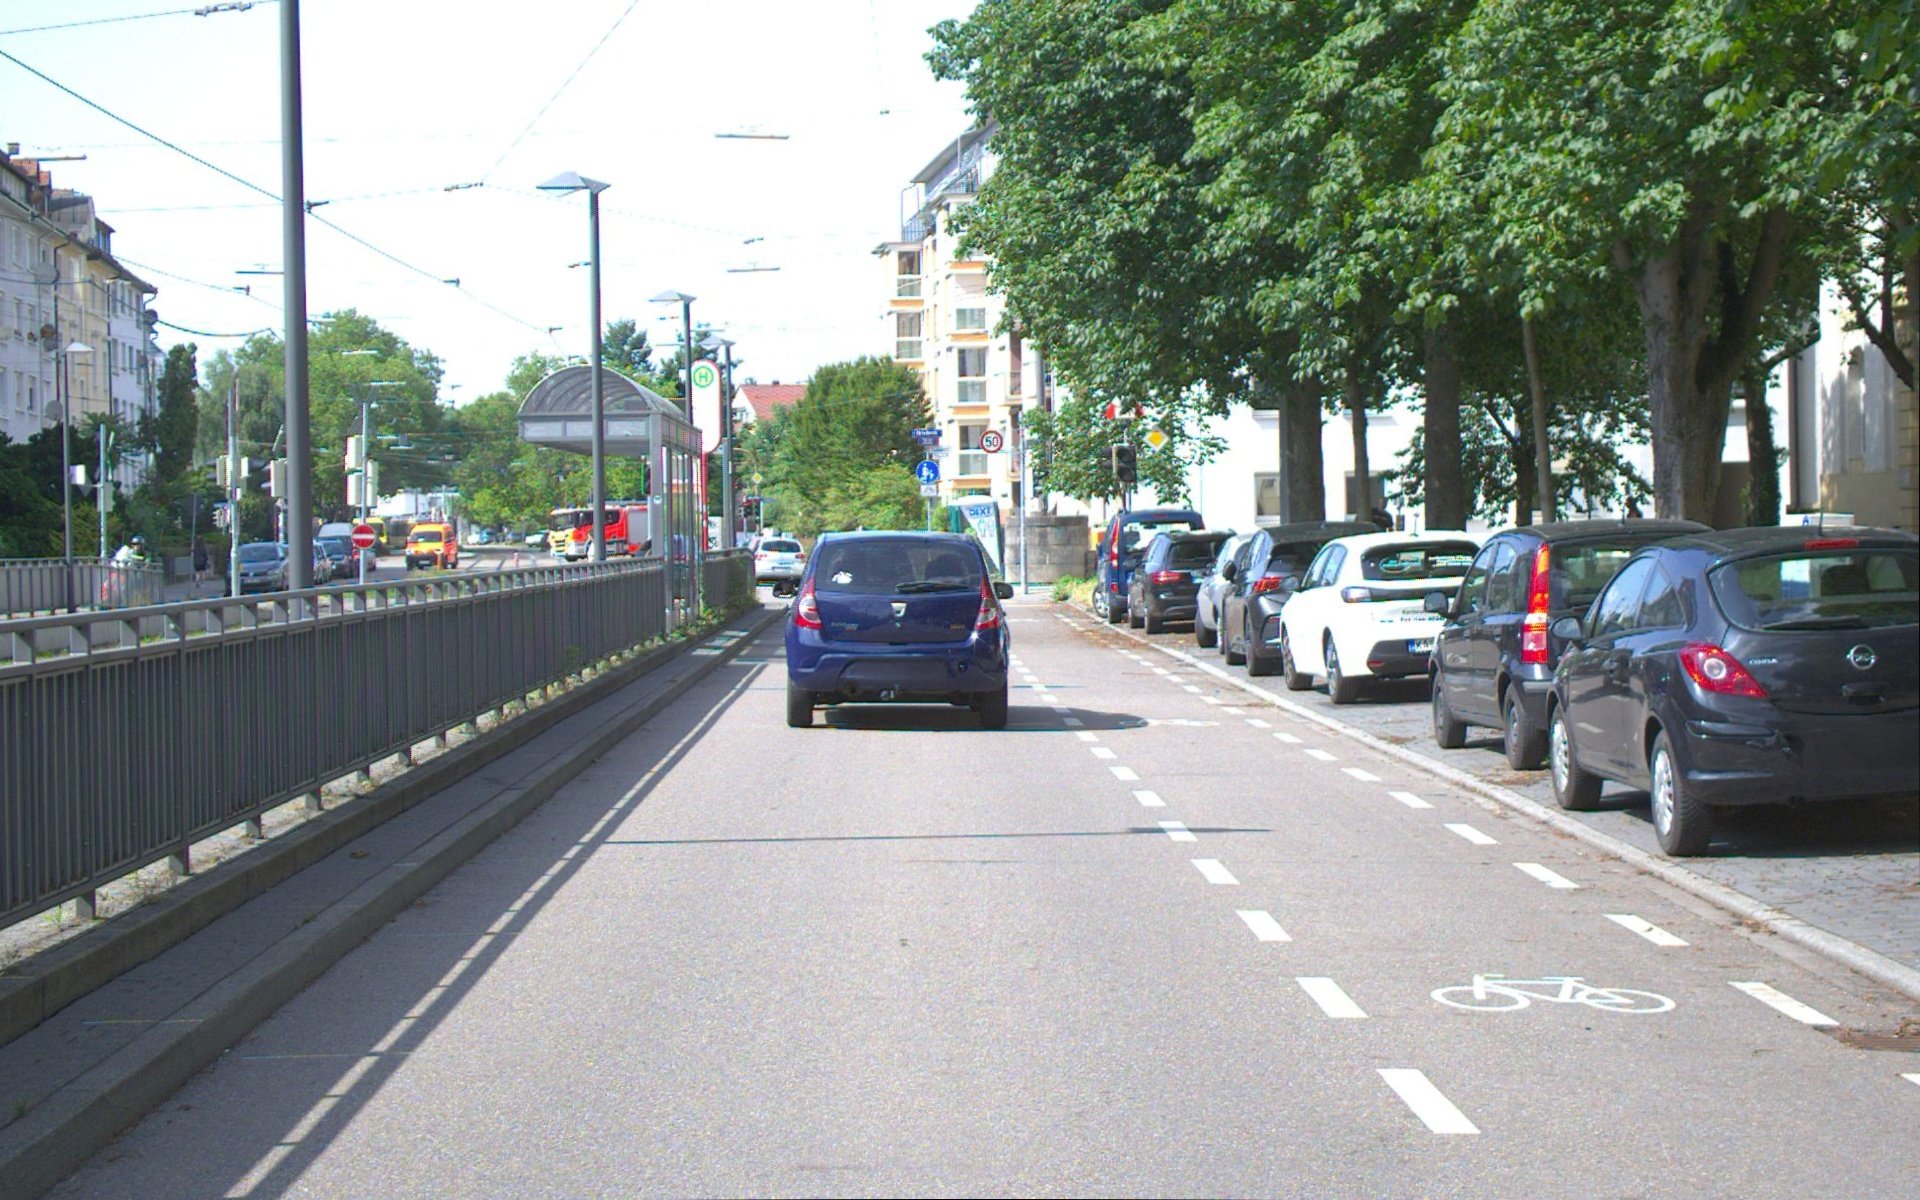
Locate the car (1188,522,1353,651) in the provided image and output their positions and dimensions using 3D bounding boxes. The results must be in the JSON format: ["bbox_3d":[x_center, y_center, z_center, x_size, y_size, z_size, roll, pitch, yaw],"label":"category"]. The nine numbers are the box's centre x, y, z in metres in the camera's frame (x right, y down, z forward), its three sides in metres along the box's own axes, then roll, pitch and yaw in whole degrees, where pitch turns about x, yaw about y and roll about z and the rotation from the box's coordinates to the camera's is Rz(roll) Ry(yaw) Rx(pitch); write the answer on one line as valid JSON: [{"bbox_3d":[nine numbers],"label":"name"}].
[{"bbox_3d":[3.771,-0.188,42.238,1.590,1.440,3.598,-3,1,-1],"label":"car"}]

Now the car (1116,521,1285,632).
[{"bbox_3d":[3.527,-0.390,51.237,1.917,1.437,4.797,-3,2,-2],"label":"car"}]

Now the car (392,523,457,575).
[{"bbox_3d":[-25.552,-2.455,163.975,1.993,2.267,4.835,3,1,-21],"label":"car"}]

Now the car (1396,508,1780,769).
[{"bbox_3d":[4.011,0.218,22.491,1.555,1.456,3.559,-4,1,-4],"label":"car"}]

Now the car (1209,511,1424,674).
[{"bbox_3d":[3.751,-0.131,36.825,1.725,1.578,4.677,-2,1,0],"label":"car"}]

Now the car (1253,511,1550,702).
[{"bbox_3d":[3.920,0.012,31.228,1.835,1.518,4.254,-3,1,-4],"label":"car"}]

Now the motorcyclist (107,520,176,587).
[{"bbox_3d":[-16.834,-0.953,70.706,0.940,1.334,0.985,-1,1,29],"label":"motorcyclist"}]

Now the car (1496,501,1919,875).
[{"bbox_3d":[3.967,0.333,17.294,1.690,1.556,4.308,-4,1,-1],"label":"car"}]

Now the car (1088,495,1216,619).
[{"bbox_3d":[3.123,-0.746,56.584,1.823,1.889,4.184,-2,2,0],"label":"car"}]

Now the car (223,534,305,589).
[{"bbox_3d":[-21.412,-1.191,105.899,1.993,1.639,4.001,1,1,-5],"label":"car"}]

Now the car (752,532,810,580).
[{"bbox_3d":[-5.547,-1.358,106.420,1.622,1.460,3.511,1,1,-5],"label":"car"}]

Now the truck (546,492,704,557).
[{"bbox_3d":[-18.349,-4.173,188.578,8.358,3.175,2.604,-4,1,-37],"label":"truck"}]

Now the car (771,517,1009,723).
[{"bbox_3d":[-0.579,0.129,27.448,1.744,1.502,4.000,1,1,-2],"label":"car"}]

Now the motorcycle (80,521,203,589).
[{"bbox_3d":[-16.828,-0.932,70.727,1.016,1.334,2.513,-1,1,28],"label":"motorcycle"}]

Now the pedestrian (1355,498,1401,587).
[{"bbox_3d":[8.004,-1.105,65.894,0.744,1.690,0.767,-1,1,0],"label":"pedestrian"}]
